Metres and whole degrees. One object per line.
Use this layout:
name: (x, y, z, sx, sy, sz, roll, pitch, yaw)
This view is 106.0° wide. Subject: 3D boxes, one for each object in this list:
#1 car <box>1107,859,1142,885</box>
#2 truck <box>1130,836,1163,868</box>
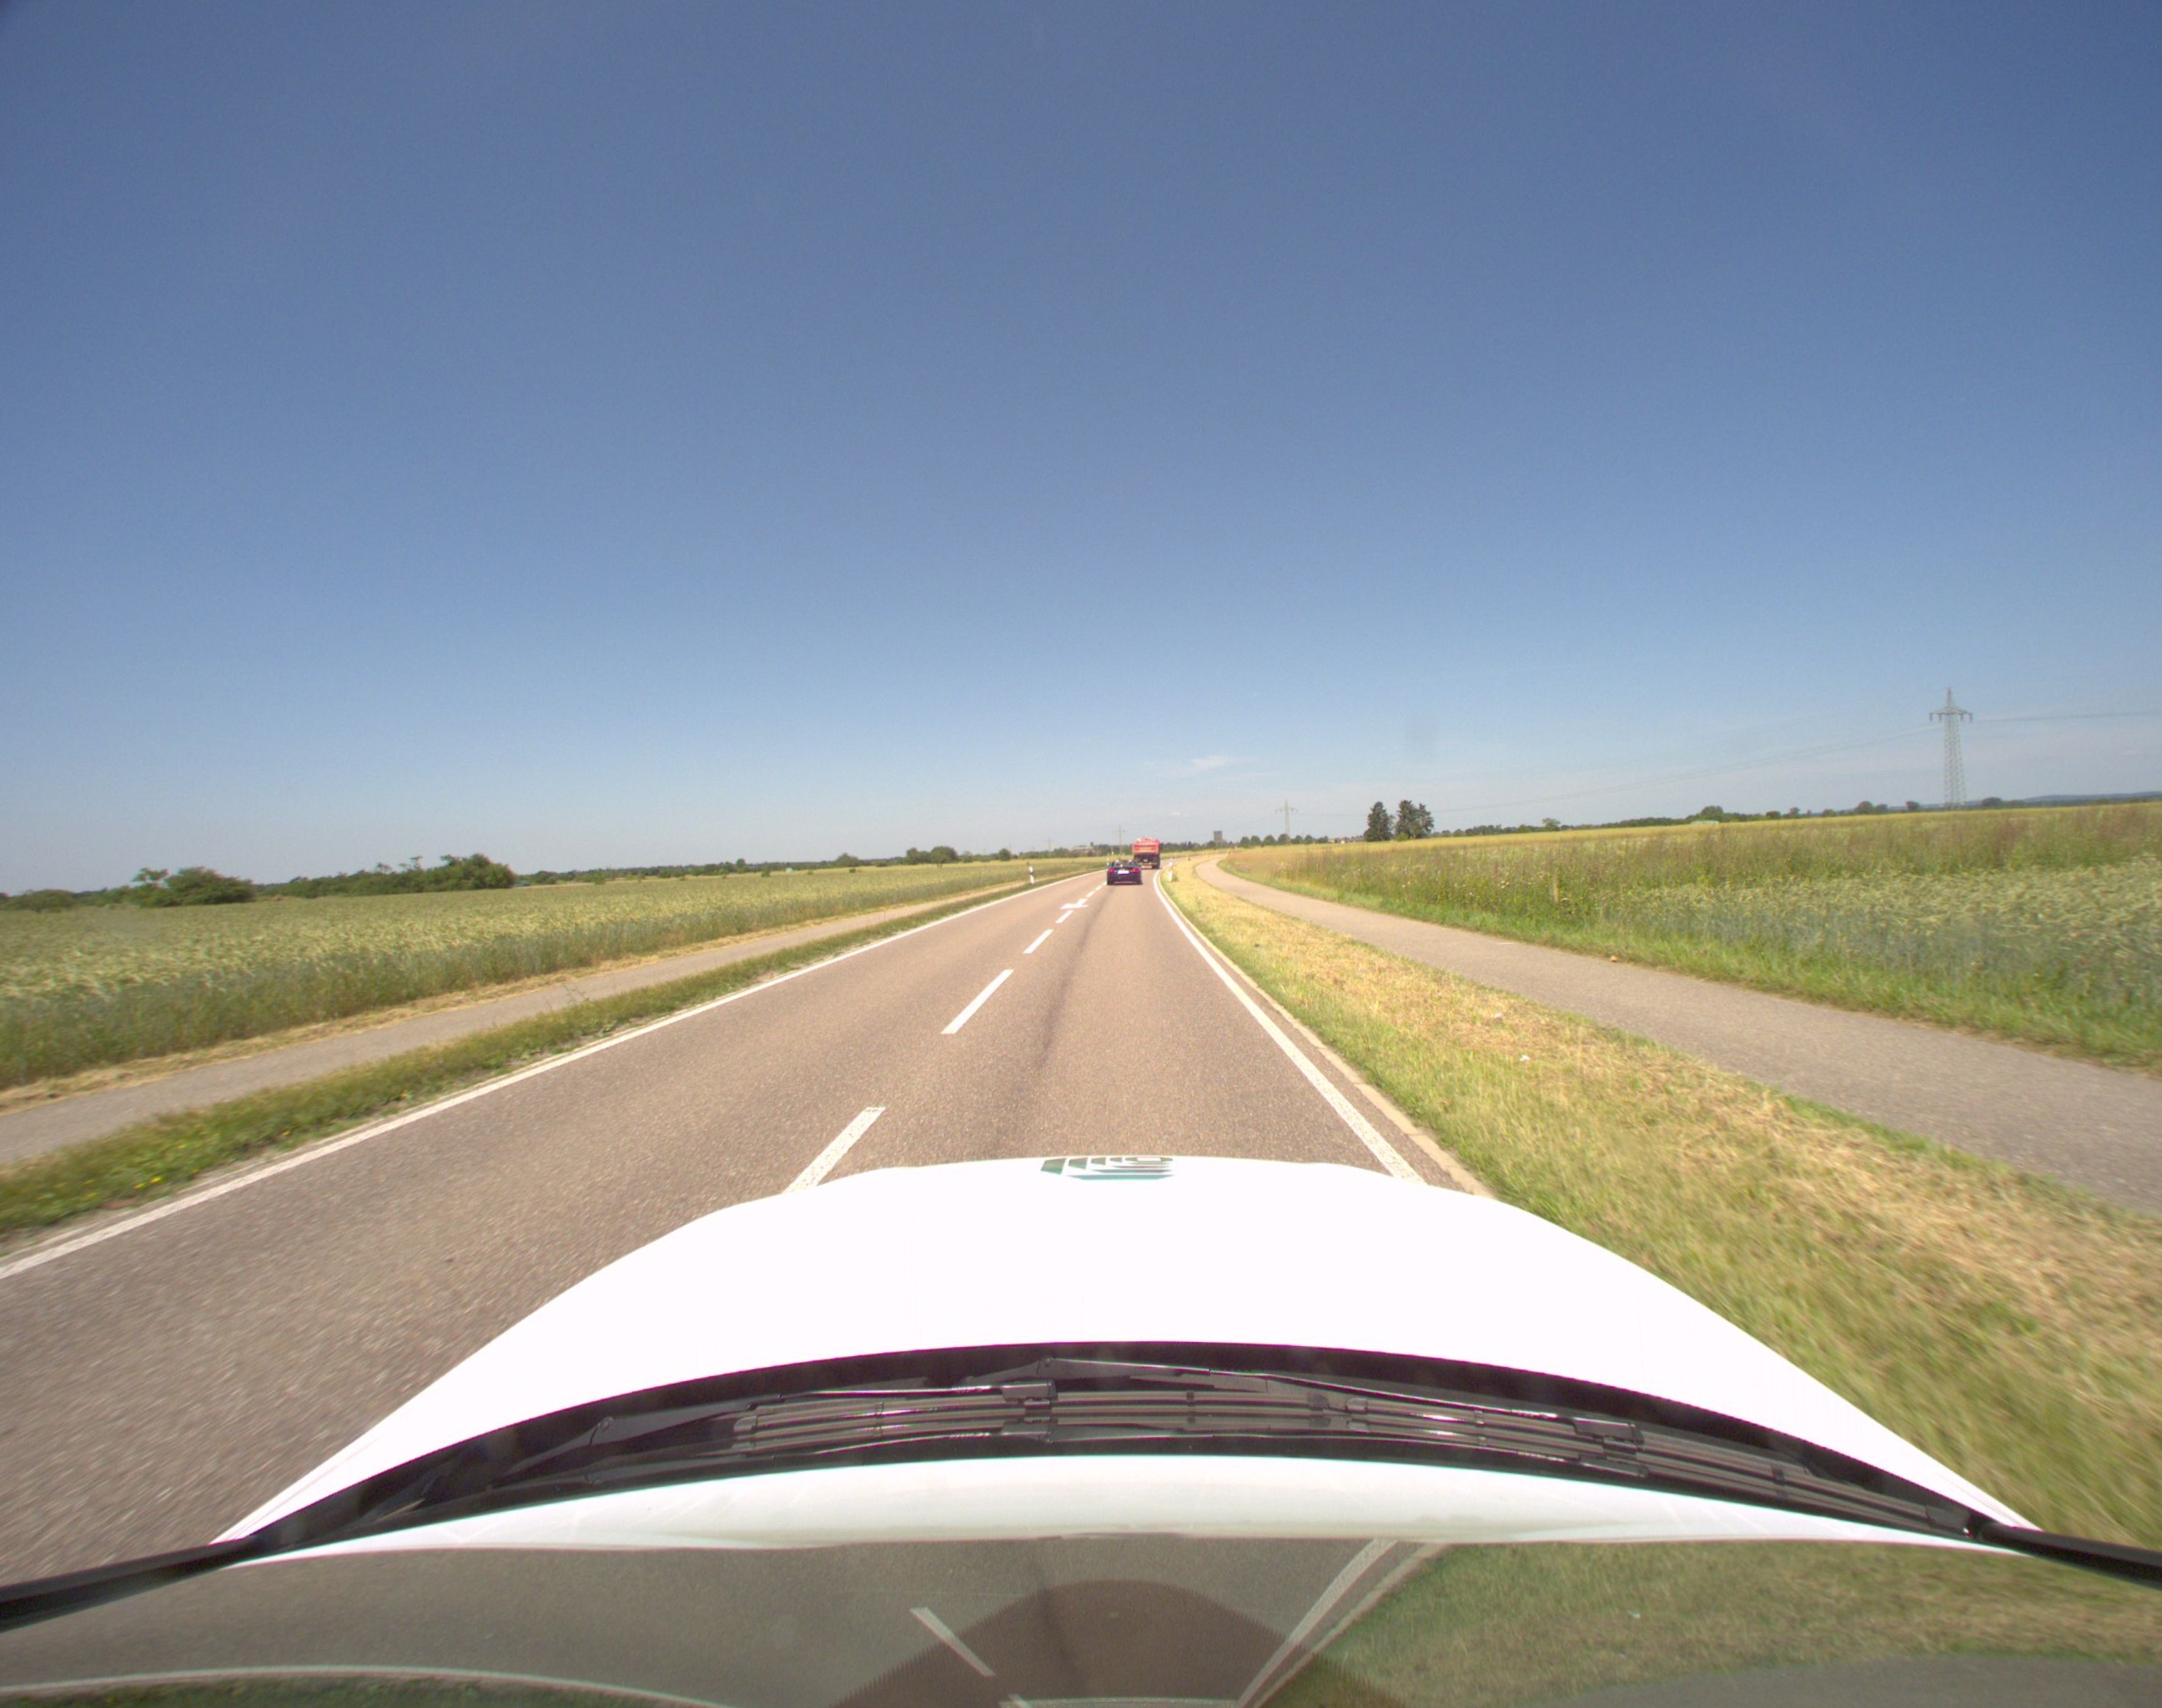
car: (2.314, 0.911, 42.670, 1.736, 1.280, 4.005, -1, 0, 4)
truck: (6.744, -0.152, 82.984, 2.923, 3.089, 7.209, -2, -1, 7)
